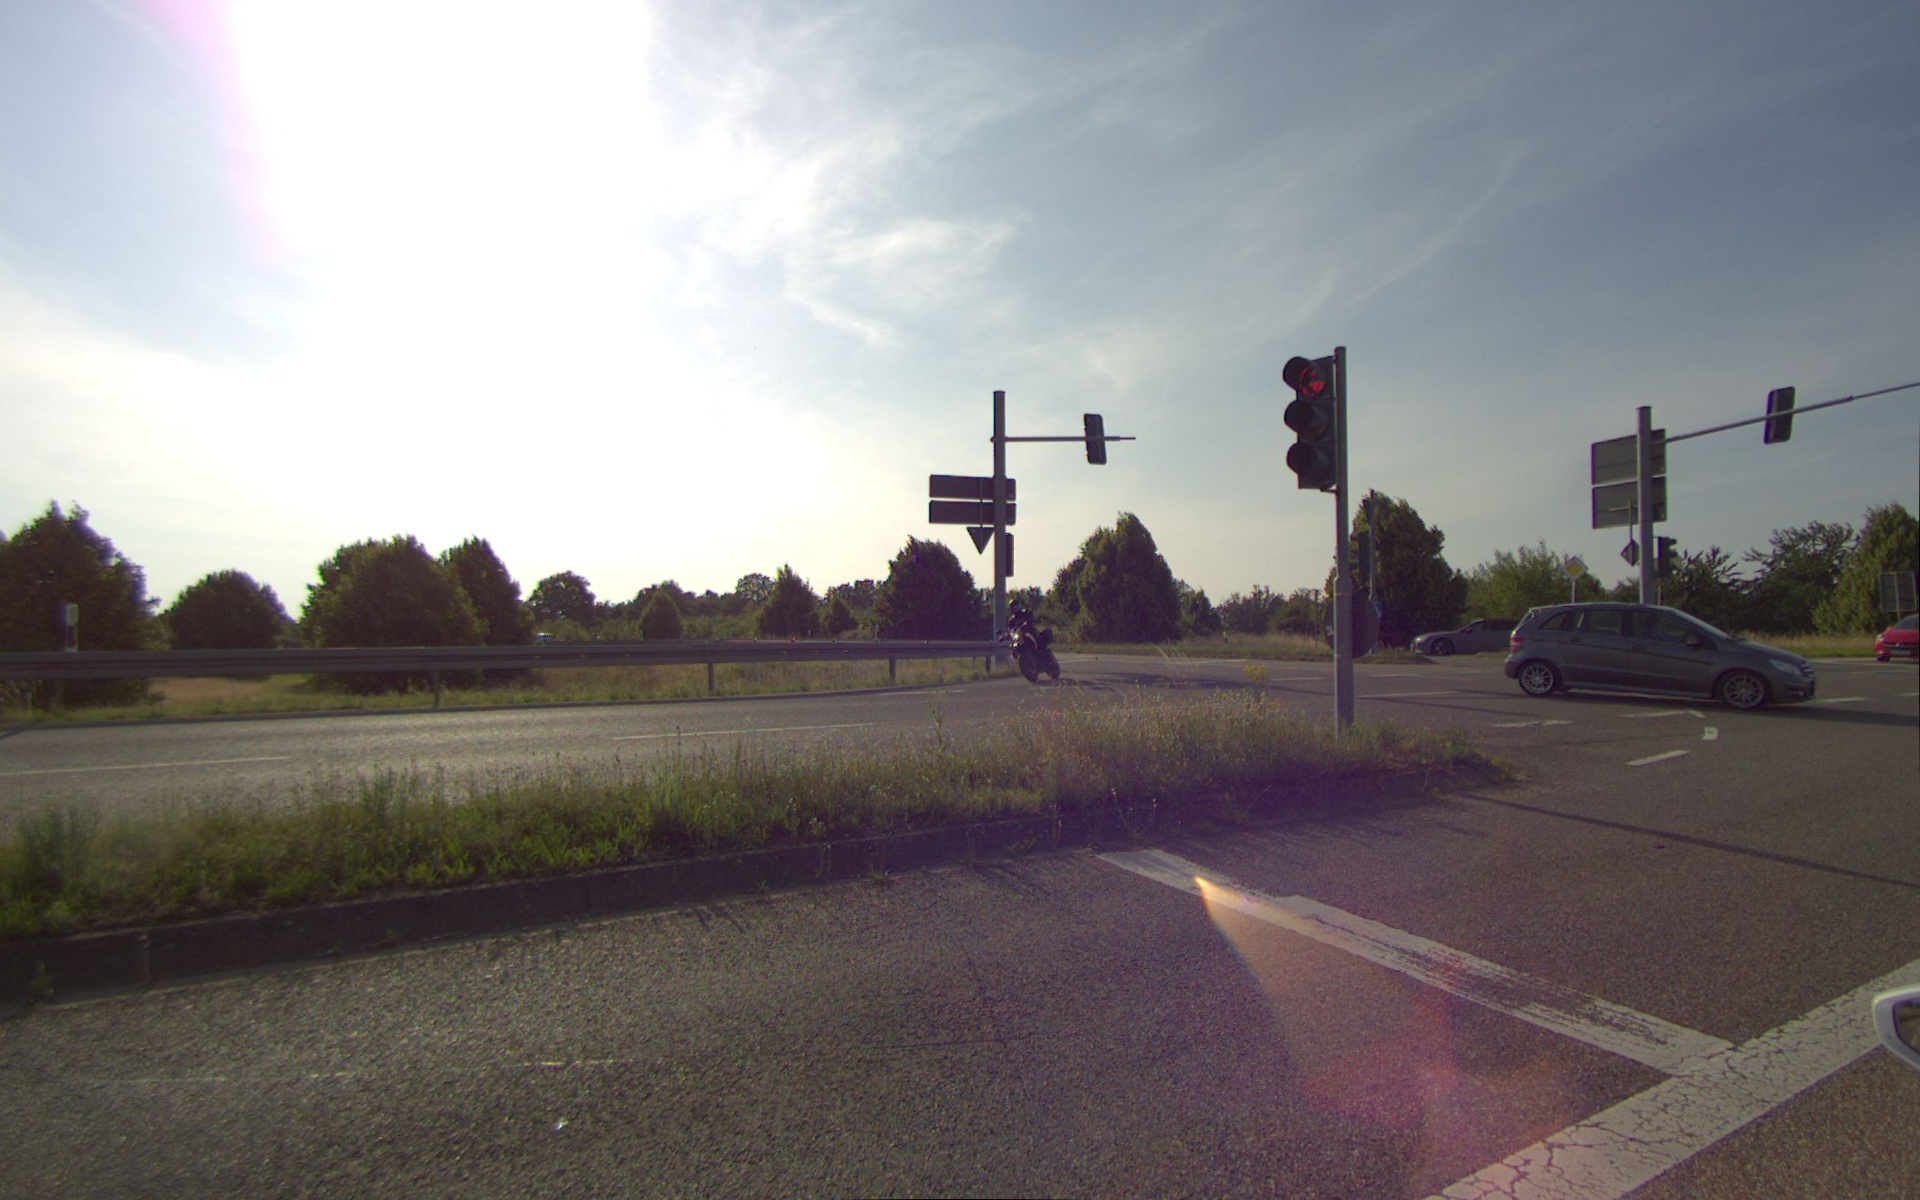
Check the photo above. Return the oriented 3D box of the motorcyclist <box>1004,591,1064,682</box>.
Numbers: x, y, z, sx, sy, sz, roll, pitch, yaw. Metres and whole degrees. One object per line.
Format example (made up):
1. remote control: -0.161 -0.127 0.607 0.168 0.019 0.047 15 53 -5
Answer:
1. motorcyclist: 1.496 0.714 20.210 0.891 1.781 0.830 1 0 33

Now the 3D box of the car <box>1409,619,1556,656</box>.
1. car: 19.076 1.351 36.880 4.579 1.310 1.442 0 -1 17

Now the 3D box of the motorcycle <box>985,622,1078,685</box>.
1. motorcycle: 1.455 1.021 19.994 0.924 1.139 2.165 1 0 32

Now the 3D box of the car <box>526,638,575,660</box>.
1. car: -32.420 3.878 79.556 3.940 1.560 1.991 0 -1 40

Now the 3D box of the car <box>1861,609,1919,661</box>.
1. car: 29.521 1.053 30.629 3.752 1.508 1.716 1 -1 -25

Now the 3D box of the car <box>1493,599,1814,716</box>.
1. car: 11.327 0.861 16.586 4.137 1.626 1.780 1 -1 43
